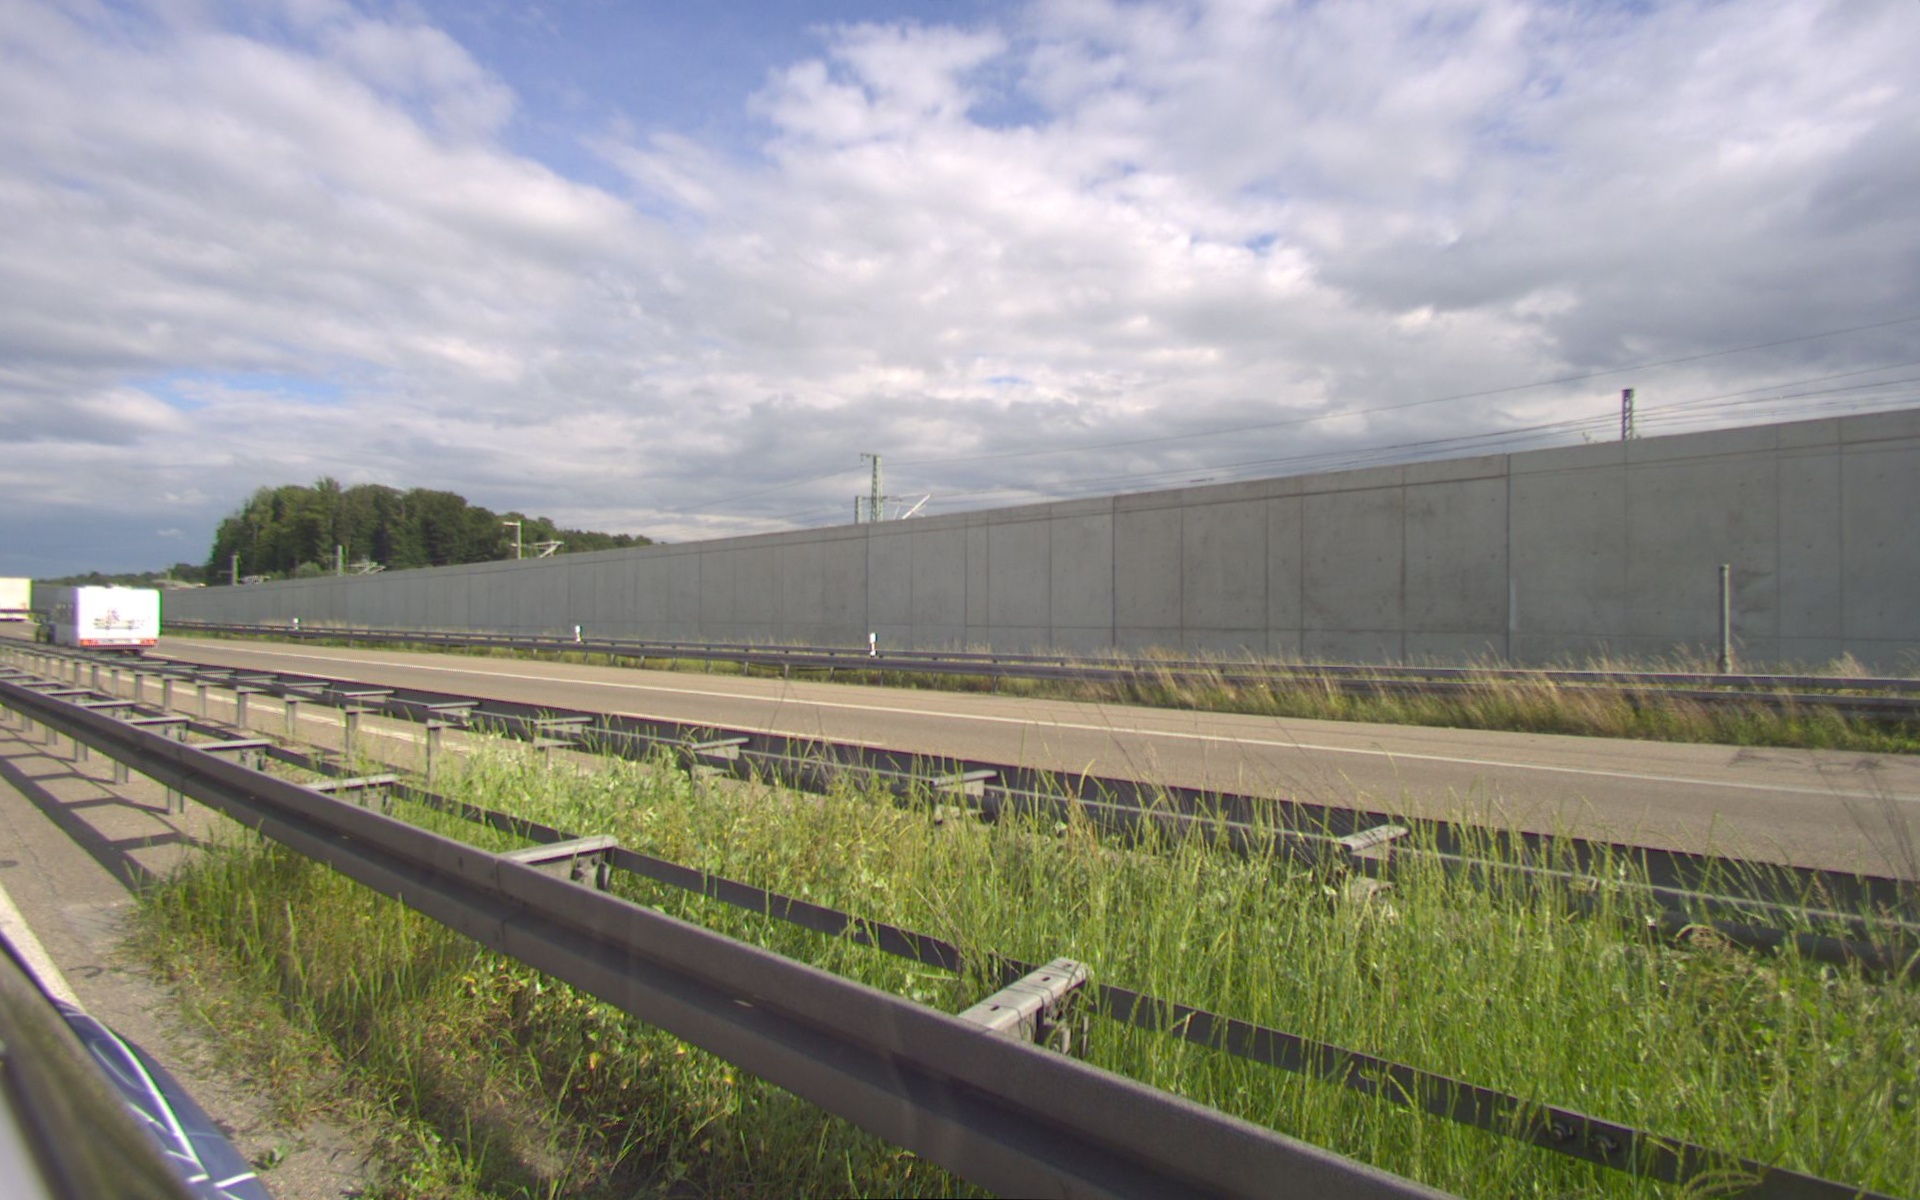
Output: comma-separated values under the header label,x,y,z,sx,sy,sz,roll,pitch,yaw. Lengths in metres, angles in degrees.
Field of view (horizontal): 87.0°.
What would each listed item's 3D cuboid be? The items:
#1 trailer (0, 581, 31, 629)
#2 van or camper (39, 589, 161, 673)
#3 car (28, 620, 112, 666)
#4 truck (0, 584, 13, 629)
label,x,y,z,sx,sy,sz,roll,pitch,yaw
trailer,-87.066,0.533,91.569,13.511,4.108,2.761,-1,-3,41
van or camper,-30.817,1.064,36.177,7.166,2.724,2.229,-1,-1,41
car,-35.161,1.652,39.942,4.359,1.684,1.891,-1,-1,41
truck,-92.114,0.603,95.932,5.528,4.119,2.747,-1,-3,41
